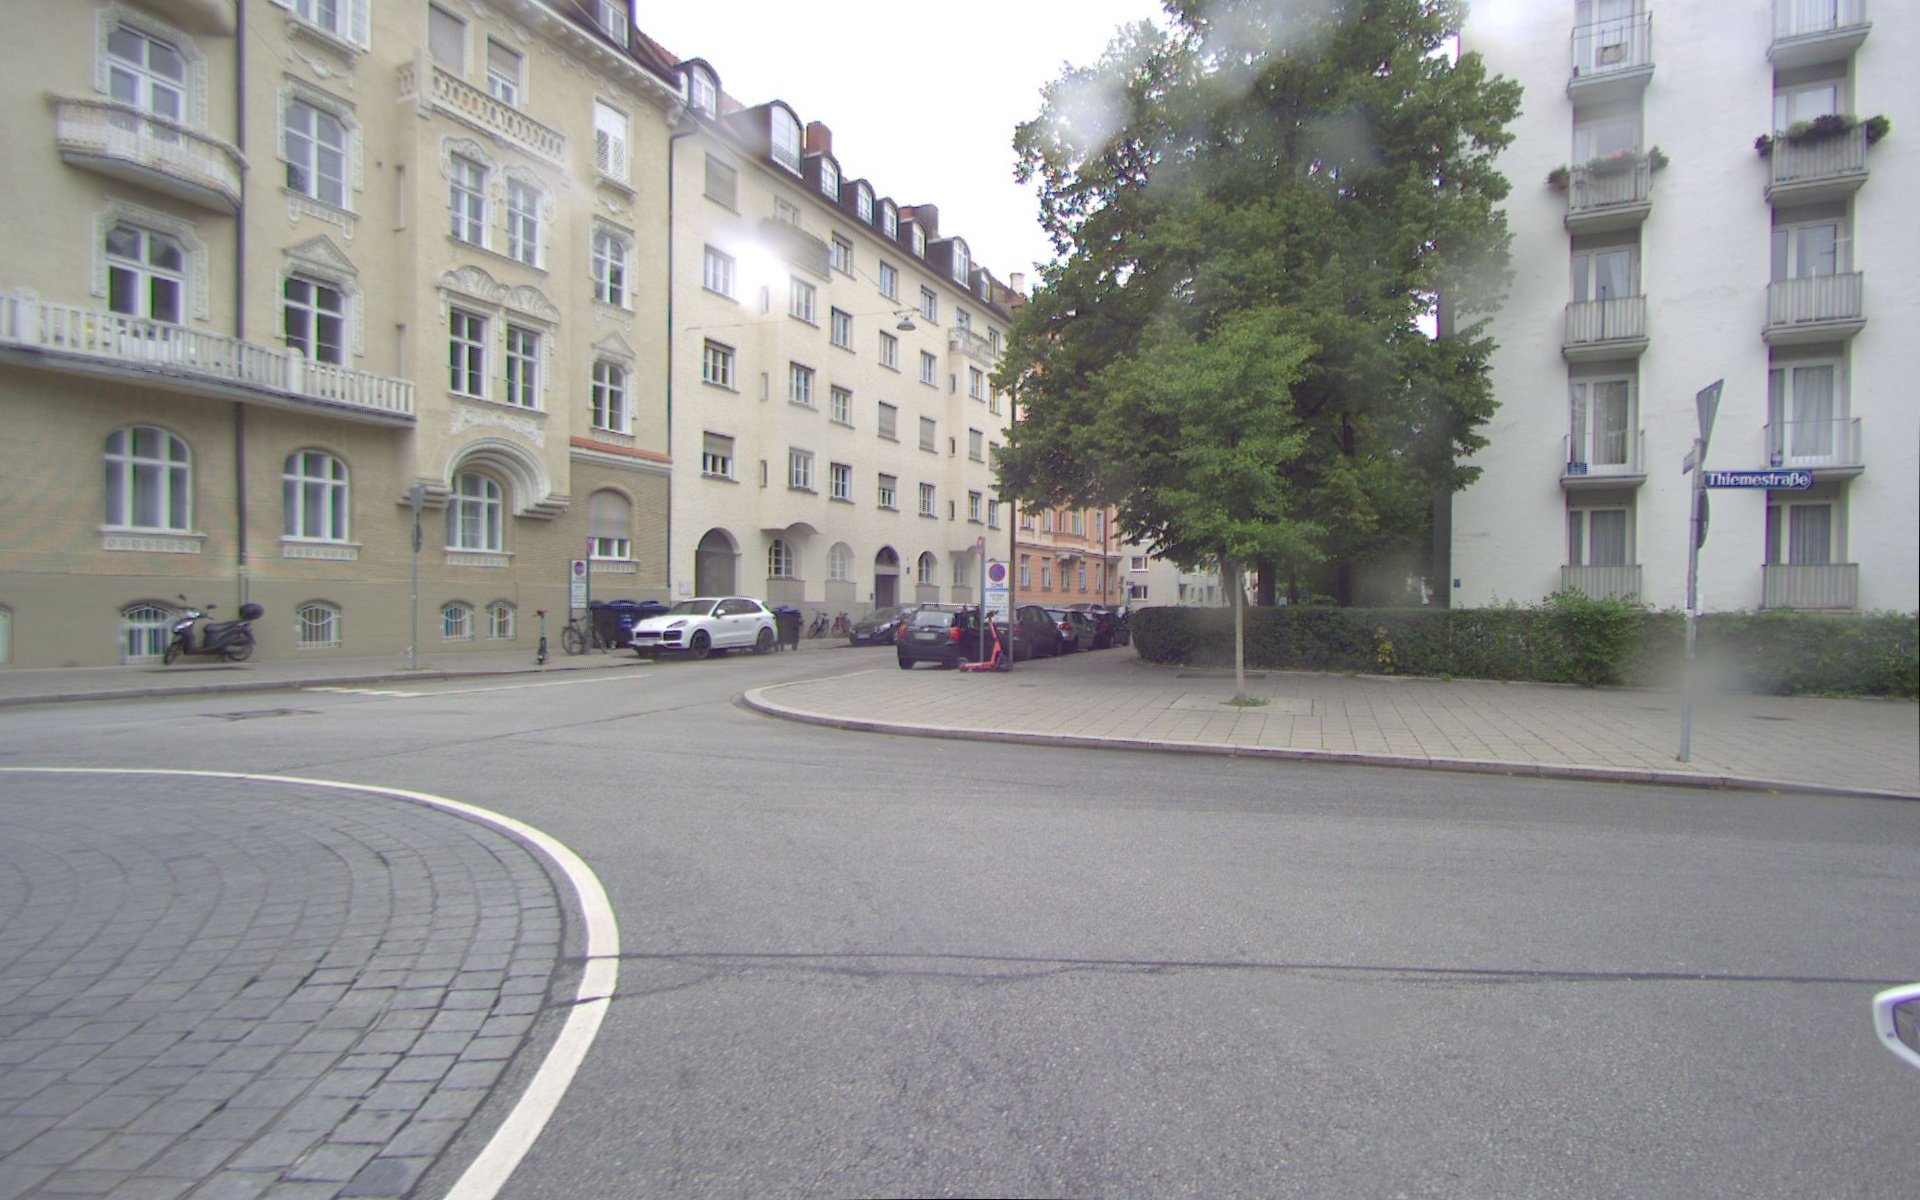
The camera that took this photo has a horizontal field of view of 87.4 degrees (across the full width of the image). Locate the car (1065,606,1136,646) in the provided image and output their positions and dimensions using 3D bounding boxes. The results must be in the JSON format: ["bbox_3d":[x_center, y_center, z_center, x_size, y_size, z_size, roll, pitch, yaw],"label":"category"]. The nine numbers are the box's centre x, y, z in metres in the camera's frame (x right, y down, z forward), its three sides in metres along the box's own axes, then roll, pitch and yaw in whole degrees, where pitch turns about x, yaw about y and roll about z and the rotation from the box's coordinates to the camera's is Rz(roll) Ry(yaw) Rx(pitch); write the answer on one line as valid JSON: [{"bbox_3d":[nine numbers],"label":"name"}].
[{"bbox_3d":[5.456,0.981,38.675,1.644,1.476,3.673,-2,-1,25],"label":"car"}]

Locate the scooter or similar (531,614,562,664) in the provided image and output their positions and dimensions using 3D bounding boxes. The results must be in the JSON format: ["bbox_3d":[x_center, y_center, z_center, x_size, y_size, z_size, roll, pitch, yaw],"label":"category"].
[{"bbox_3d":[-9.748,0.903,23.701,0.534,1.123,1.341,1,0,-18],"label":"scooter or similar"}]

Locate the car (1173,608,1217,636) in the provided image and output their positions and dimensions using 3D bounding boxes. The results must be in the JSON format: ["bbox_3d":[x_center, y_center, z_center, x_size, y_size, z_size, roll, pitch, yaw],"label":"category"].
[{"bbox_3d":[13.108,1.186,55.881,1.644,1.476,3.673,-2,-1,25],"label":"car"}]

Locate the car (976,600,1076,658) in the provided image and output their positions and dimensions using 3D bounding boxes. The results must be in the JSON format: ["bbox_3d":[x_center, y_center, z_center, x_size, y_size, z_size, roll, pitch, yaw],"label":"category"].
[{"bbox_3d":[1.981,0.824,29.065,1.644,1.548,3.673,-2,-1,25],"label":"car"}]

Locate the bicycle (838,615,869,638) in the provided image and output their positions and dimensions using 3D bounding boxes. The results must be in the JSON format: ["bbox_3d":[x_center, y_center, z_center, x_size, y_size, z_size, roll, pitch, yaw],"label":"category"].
[{"bbox_3d":[-4.542,1.130,43.016,0.641,0.914,1.815,1,0,18],"label":"bicycle"}]

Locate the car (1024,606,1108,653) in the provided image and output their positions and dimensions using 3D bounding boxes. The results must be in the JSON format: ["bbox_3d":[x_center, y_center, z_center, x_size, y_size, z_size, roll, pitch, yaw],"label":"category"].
[{"bbox_3d":[3.608,0.964,33.667,1.644,1.476,3.673,-2,-1,25],"label":"car"}]

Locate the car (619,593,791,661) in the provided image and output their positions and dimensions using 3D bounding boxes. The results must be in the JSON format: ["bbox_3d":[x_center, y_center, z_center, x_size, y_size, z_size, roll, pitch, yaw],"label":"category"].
[{"bbox_3d":[-7.017,0.708,28.248,1.962,1.698,4.986,1,0,25],"label":"car"}]

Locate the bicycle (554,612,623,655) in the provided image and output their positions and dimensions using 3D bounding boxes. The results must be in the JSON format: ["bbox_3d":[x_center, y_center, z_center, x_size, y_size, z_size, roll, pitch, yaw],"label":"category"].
[{"bbox_3d":[-9.893,0.861,26.825,0.641,1.083,1.976,1,0,18],"label":"bicycle"}]

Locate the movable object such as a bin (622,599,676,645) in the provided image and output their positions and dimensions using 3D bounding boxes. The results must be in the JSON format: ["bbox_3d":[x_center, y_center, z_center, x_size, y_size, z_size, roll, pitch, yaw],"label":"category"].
[{"bbox_3d":[-9.719,0.680,31.408,1.127,1.389,1.179,1,0,28],"label":"movable object such as a bin"}]

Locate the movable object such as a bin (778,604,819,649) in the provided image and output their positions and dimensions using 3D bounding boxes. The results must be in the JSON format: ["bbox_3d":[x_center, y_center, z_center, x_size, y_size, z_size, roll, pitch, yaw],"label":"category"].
[{"bbox_3d":[-5.237,0.860,32.576,0.935,1.419,0.917,1,0,29],"label":"movable object such as a bin"}]

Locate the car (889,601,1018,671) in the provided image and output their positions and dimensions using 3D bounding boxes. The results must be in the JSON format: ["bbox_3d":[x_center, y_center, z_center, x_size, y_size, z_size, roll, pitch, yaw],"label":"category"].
[{"bbox_3d":[-0.070,0.823,24.052,1.644,1.548,3.673,-2,-1,25],"label":"car"}]

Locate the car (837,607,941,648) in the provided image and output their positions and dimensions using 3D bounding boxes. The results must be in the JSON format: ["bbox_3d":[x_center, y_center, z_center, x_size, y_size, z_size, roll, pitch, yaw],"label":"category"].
[{"bbox_3d":[-2.585,0.982,37.693,1.962,1.376,4.474,1,0,25],"label":"car"}]

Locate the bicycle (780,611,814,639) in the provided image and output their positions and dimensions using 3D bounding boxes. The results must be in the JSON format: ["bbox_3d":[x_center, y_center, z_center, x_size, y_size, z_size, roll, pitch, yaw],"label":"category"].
[{"bbox_3d":[-6.357,0.960,39.342,0.540,1.083,1.815,1,0,18],"label":"bicycle"}]

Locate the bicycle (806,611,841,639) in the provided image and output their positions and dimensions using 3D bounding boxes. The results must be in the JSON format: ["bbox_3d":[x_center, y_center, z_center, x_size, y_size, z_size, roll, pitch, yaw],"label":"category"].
[{"bbox_3d":[-5.490,0.987,40.420,0.641,1.083,1.815,1,0,18],"label":"bicycle"}]

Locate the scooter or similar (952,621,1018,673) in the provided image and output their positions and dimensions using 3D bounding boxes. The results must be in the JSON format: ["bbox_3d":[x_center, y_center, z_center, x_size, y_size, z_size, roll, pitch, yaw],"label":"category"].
[{"bbox_3d":[0.520,0.976,20.950,1.285,1.038,0.529,1,0,15],"label":"scooter or similar"}]

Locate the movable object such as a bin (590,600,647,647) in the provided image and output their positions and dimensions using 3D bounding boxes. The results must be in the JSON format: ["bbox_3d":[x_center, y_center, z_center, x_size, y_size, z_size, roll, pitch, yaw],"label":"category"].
[{"bbox_3d":[-10.300,0.698,30.332,1.127,1.389,1.179,1,0,28],"label":"movable object such as a bin"}]

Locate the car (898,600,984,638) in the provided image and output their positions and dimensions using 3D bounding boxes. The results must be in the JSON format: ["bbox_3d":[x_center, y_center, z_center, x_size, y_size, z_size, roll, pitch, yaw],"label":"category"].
[{"bbox_3d":[-0.731,0.771,42.081,1.962,1.469,4.176,1,0,25],"label":"car"}]

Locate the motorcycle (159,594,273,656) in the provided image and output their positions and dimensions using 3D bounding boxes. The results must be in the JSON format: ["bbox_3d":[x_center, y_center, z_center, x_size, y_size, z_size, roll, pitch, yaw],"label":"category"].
[{"bbox_3d":[-15.231,0.498,20.616,0.728,1.202,1.745,1,0,23],"label":"motorcycle"}]

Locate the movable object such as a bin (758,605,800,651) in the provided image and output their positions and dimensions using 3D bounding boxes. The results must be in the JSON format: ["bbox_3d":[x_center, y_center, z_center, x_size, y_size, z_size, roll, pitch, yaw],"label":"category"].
[{"bbox_3d":[-5.718,0.873,31.759,0.935,1.419,0.917,1,0,29],"label":"movable object such as a bin"}]
